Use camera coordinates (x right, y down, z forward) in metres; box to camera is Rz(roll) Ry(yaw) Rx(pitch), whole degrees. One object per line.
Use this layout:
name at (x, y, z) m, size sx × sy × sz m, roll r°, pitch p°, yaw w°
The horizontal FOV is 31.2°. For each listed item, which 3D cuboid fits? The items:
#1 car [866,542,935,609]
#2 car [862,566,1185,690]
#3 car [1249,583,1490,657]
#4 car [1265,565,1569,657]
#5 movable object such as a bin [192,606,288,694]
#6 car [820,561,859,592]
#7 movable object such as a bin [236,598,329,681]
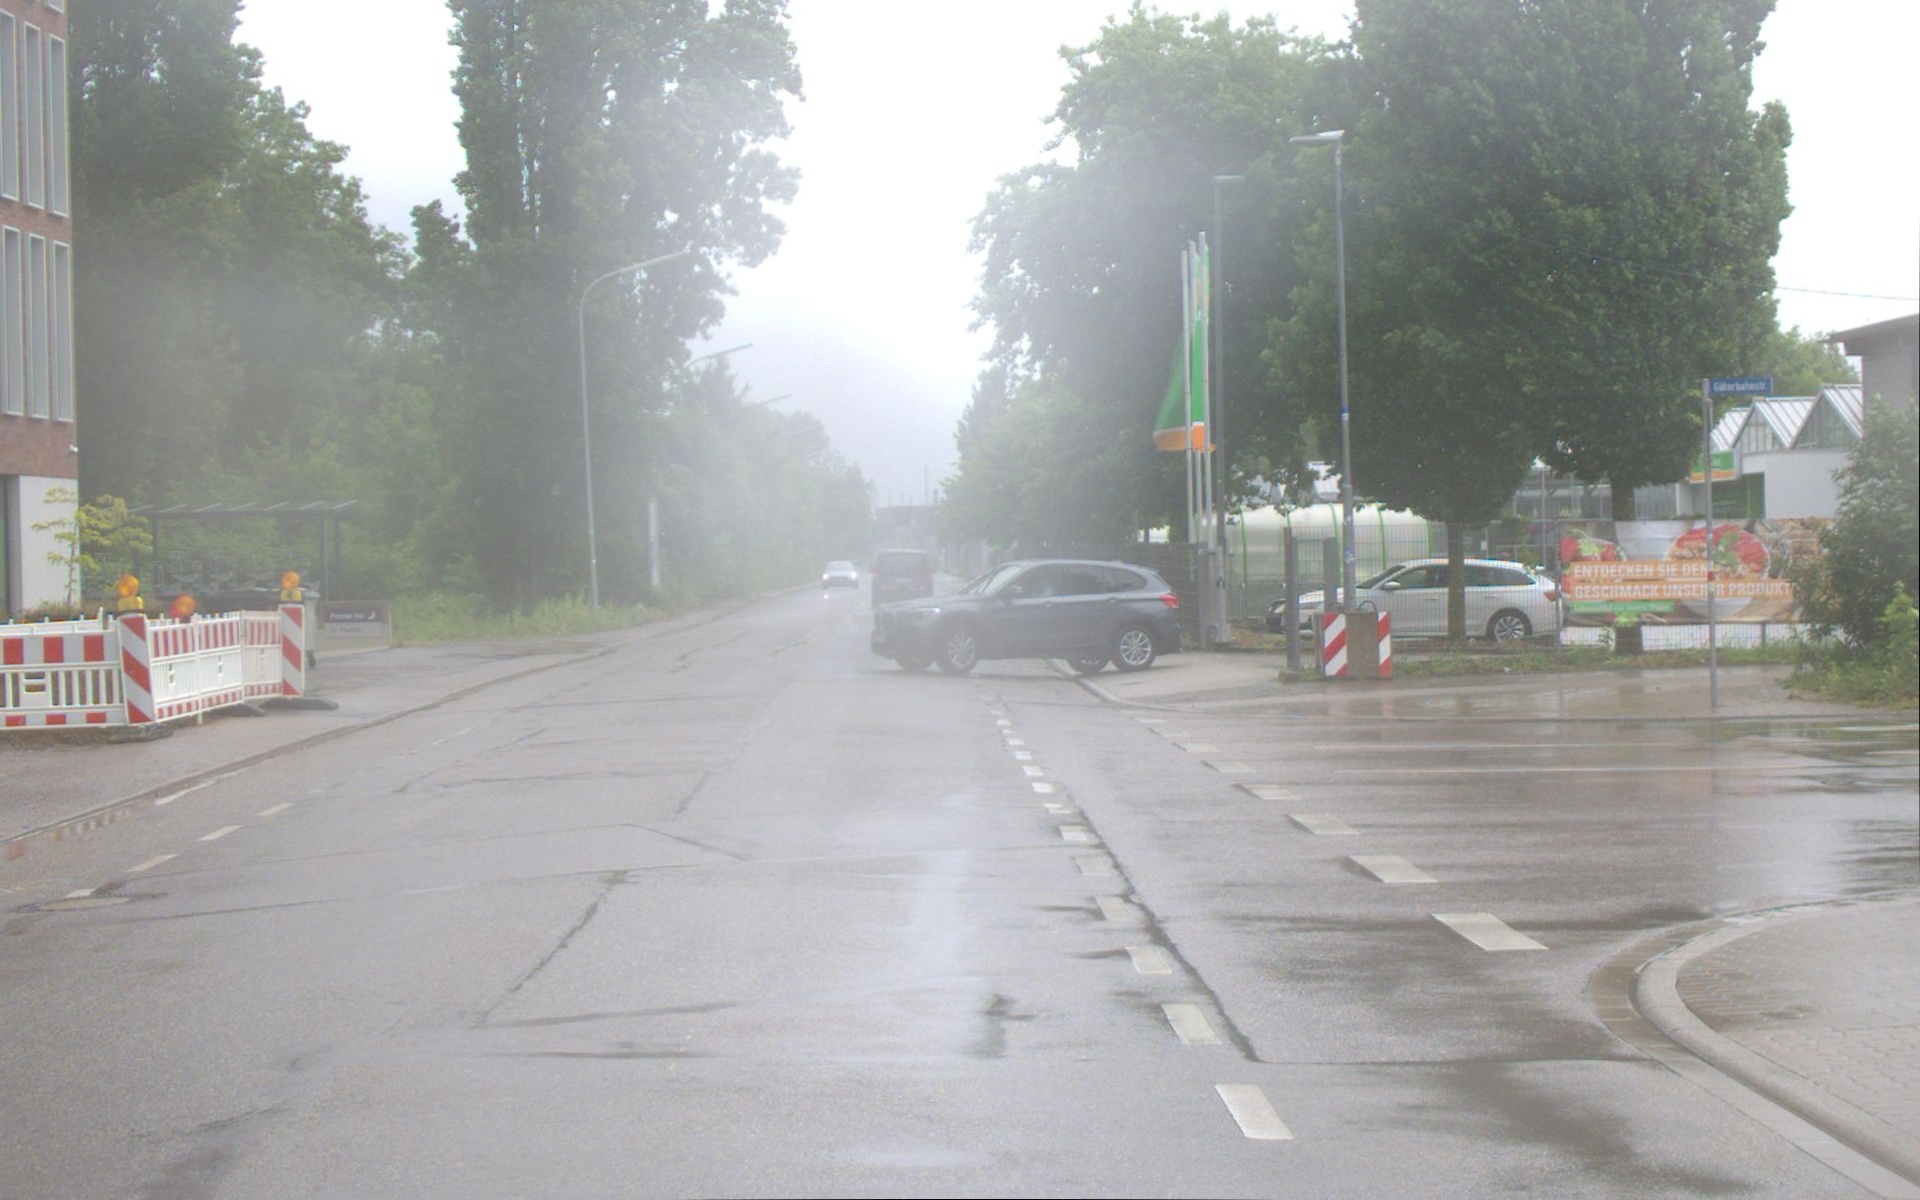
car at (-1.798, -0.705, 102.843) m, size 1.993 × 1.904 × 4.201 m, roll -2°, pitch 0°, yaw -2°
car at (0.878, 0.382, 48.302) m, size 4.135 × 1.563 × 1.765 m, roll -2°, pitch 0°, yaw -19°
car at (7.068, 0.342, 59.523) m, size 3.938 × 1.252 × 1.619 m, roll 0°, pitch 0°, yaw -2°
car at (7.495, 0.176, 56.679) m, size 4.702 × 1.457 × 1.891 m, roll 0°, pitch 0°, yaw -2°
movable object such as a bin at (-10.985, 0.751, 52.495) m, size 1.295 × 1.304 × 1.449 m, roll -1°, pitch 0°, yaw -7°
car at (-6.156, -1.208, 175.894) m, size 1.733 × 1.445 × 4.381 m, roll -4°, pitch 0°, yaw 0°
movable object such as a bin at (-11.195, 0.651, 56.853) m, size 1.295 × 1.327 × 1.358 m, roll -1°, pitch 0°, yaw -2°
